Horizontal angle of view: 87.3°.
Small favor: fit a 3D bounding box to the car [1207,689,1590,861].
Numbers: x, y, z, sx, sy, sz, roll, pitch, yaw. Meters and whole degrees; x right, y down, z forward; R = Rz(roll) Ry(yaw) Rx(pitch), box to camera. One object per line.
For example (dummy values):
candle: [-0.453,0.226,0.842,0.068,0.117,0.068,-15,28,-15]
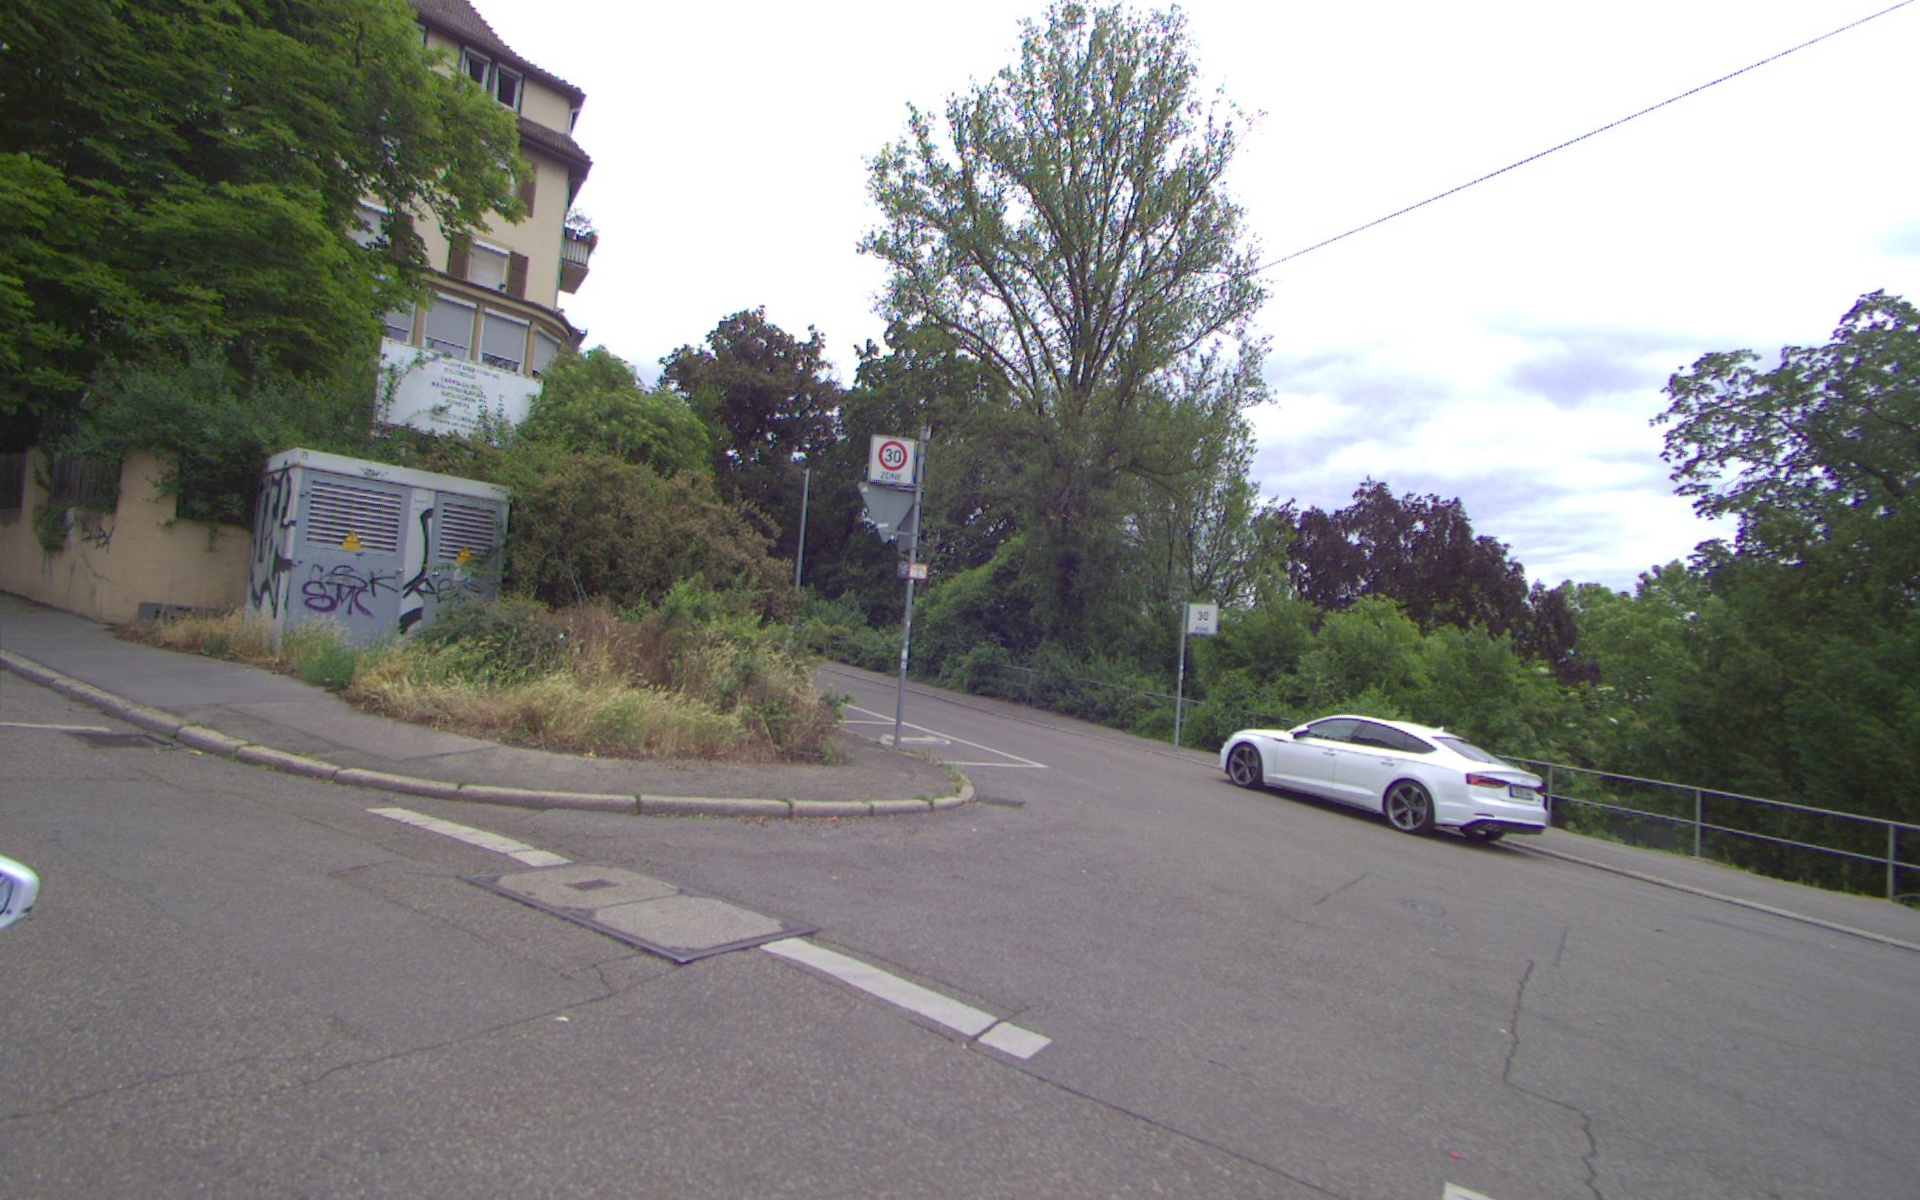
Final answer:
car: [5.898,2.332,14.160,1.883,1.395,4.563,12,-4,-31]
